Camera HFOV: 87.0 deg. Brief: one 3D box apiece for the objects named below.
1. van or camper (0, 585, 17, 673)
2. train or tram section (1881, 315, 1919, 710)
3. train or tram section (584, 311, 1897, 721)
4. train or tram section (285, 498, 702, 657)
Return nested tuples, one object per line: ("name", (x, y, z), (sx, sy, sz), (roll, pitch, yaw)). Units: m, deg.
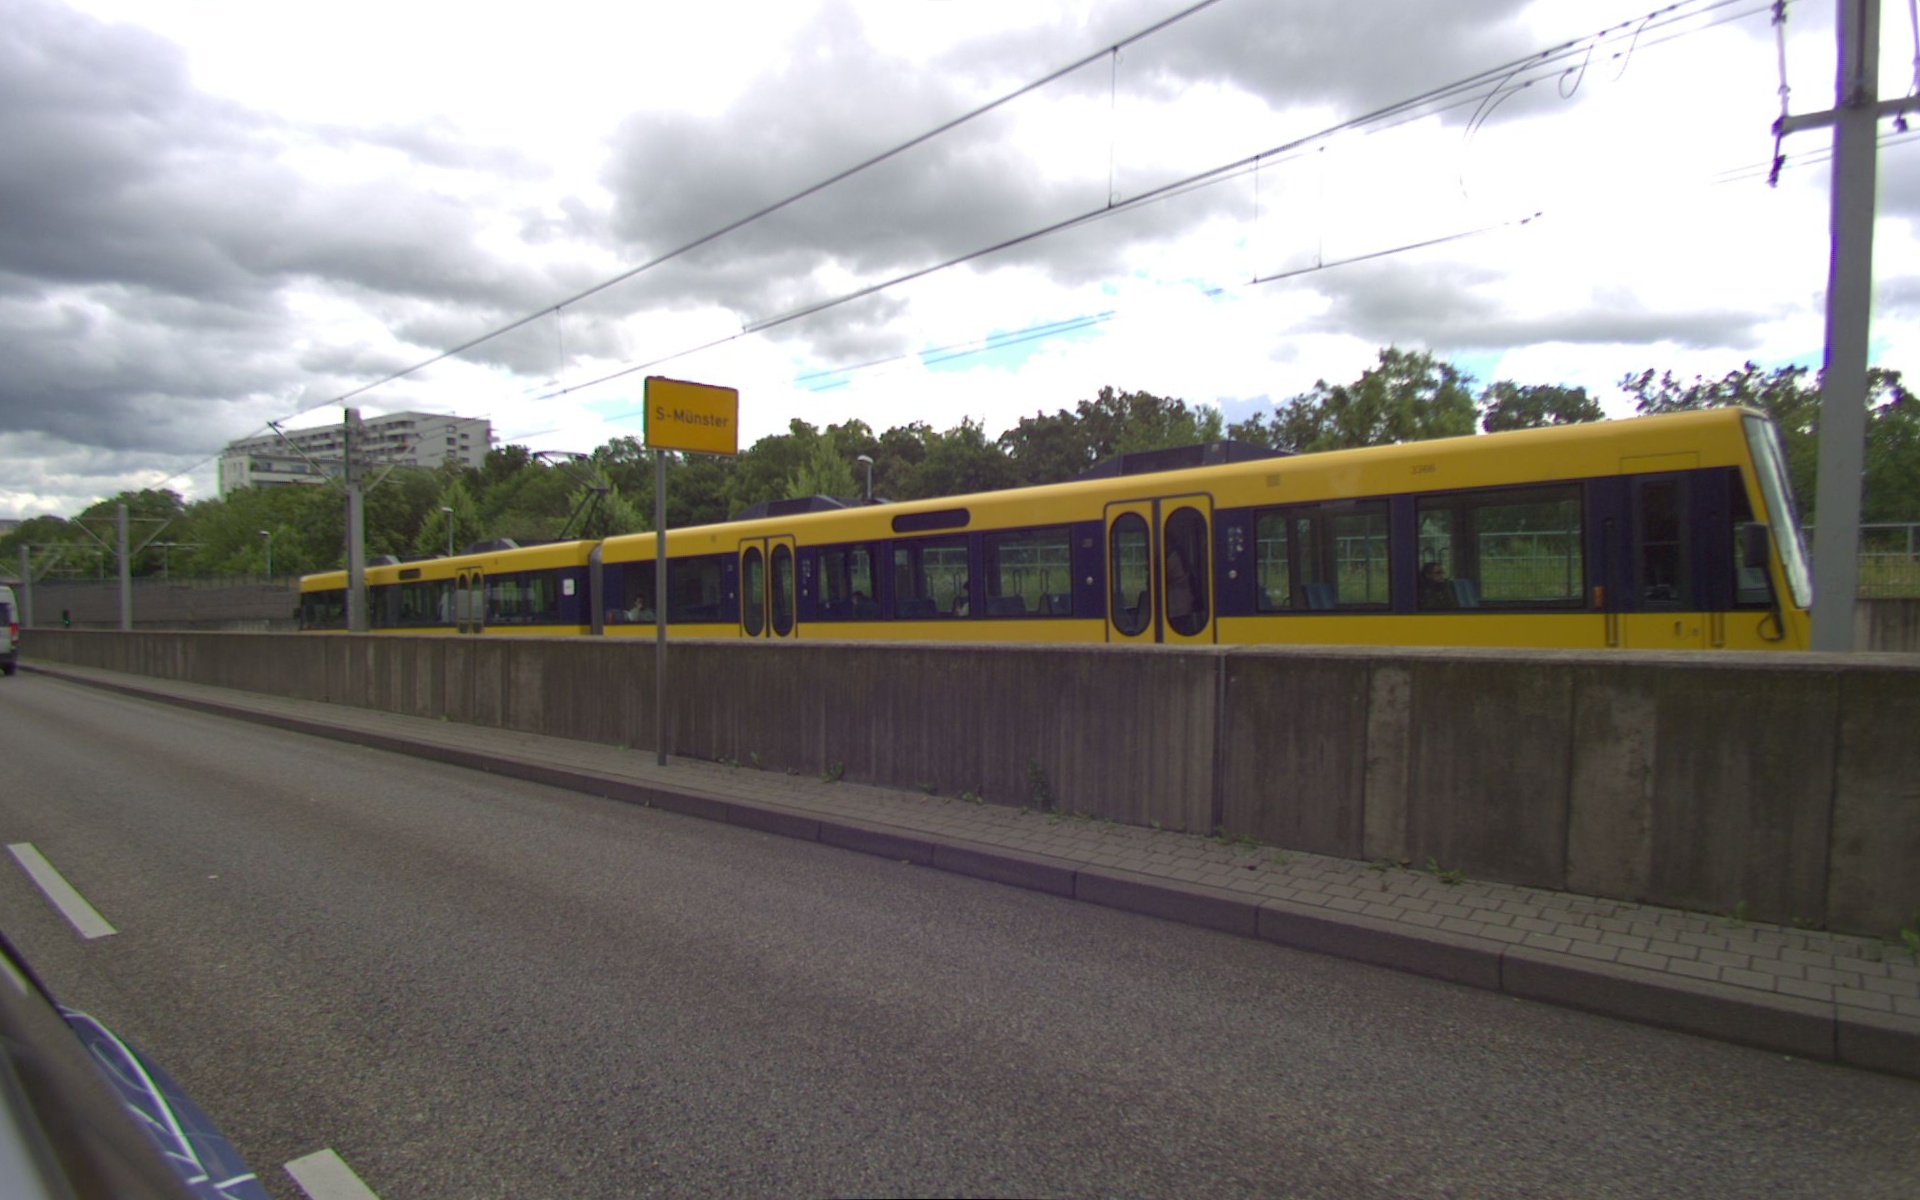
("van or camper", (-29.107, 0.876, 29.241), (6.133, 2.414, 2.061), (-2, -1, 41))
("train or tram section", (15.596, -0.753, 2.640), (19.282, 3.048, 2.774), (-1, 0, 38))
("train or tram section", (0.691, -0.550, 14.922), (19.088, 3.100, 2.775), (-1, 0, 41))
("train or tram section", (-13.680, -0.361, 27.357), (18.905, 3.140, 2.782), (-1, 0, 41))
